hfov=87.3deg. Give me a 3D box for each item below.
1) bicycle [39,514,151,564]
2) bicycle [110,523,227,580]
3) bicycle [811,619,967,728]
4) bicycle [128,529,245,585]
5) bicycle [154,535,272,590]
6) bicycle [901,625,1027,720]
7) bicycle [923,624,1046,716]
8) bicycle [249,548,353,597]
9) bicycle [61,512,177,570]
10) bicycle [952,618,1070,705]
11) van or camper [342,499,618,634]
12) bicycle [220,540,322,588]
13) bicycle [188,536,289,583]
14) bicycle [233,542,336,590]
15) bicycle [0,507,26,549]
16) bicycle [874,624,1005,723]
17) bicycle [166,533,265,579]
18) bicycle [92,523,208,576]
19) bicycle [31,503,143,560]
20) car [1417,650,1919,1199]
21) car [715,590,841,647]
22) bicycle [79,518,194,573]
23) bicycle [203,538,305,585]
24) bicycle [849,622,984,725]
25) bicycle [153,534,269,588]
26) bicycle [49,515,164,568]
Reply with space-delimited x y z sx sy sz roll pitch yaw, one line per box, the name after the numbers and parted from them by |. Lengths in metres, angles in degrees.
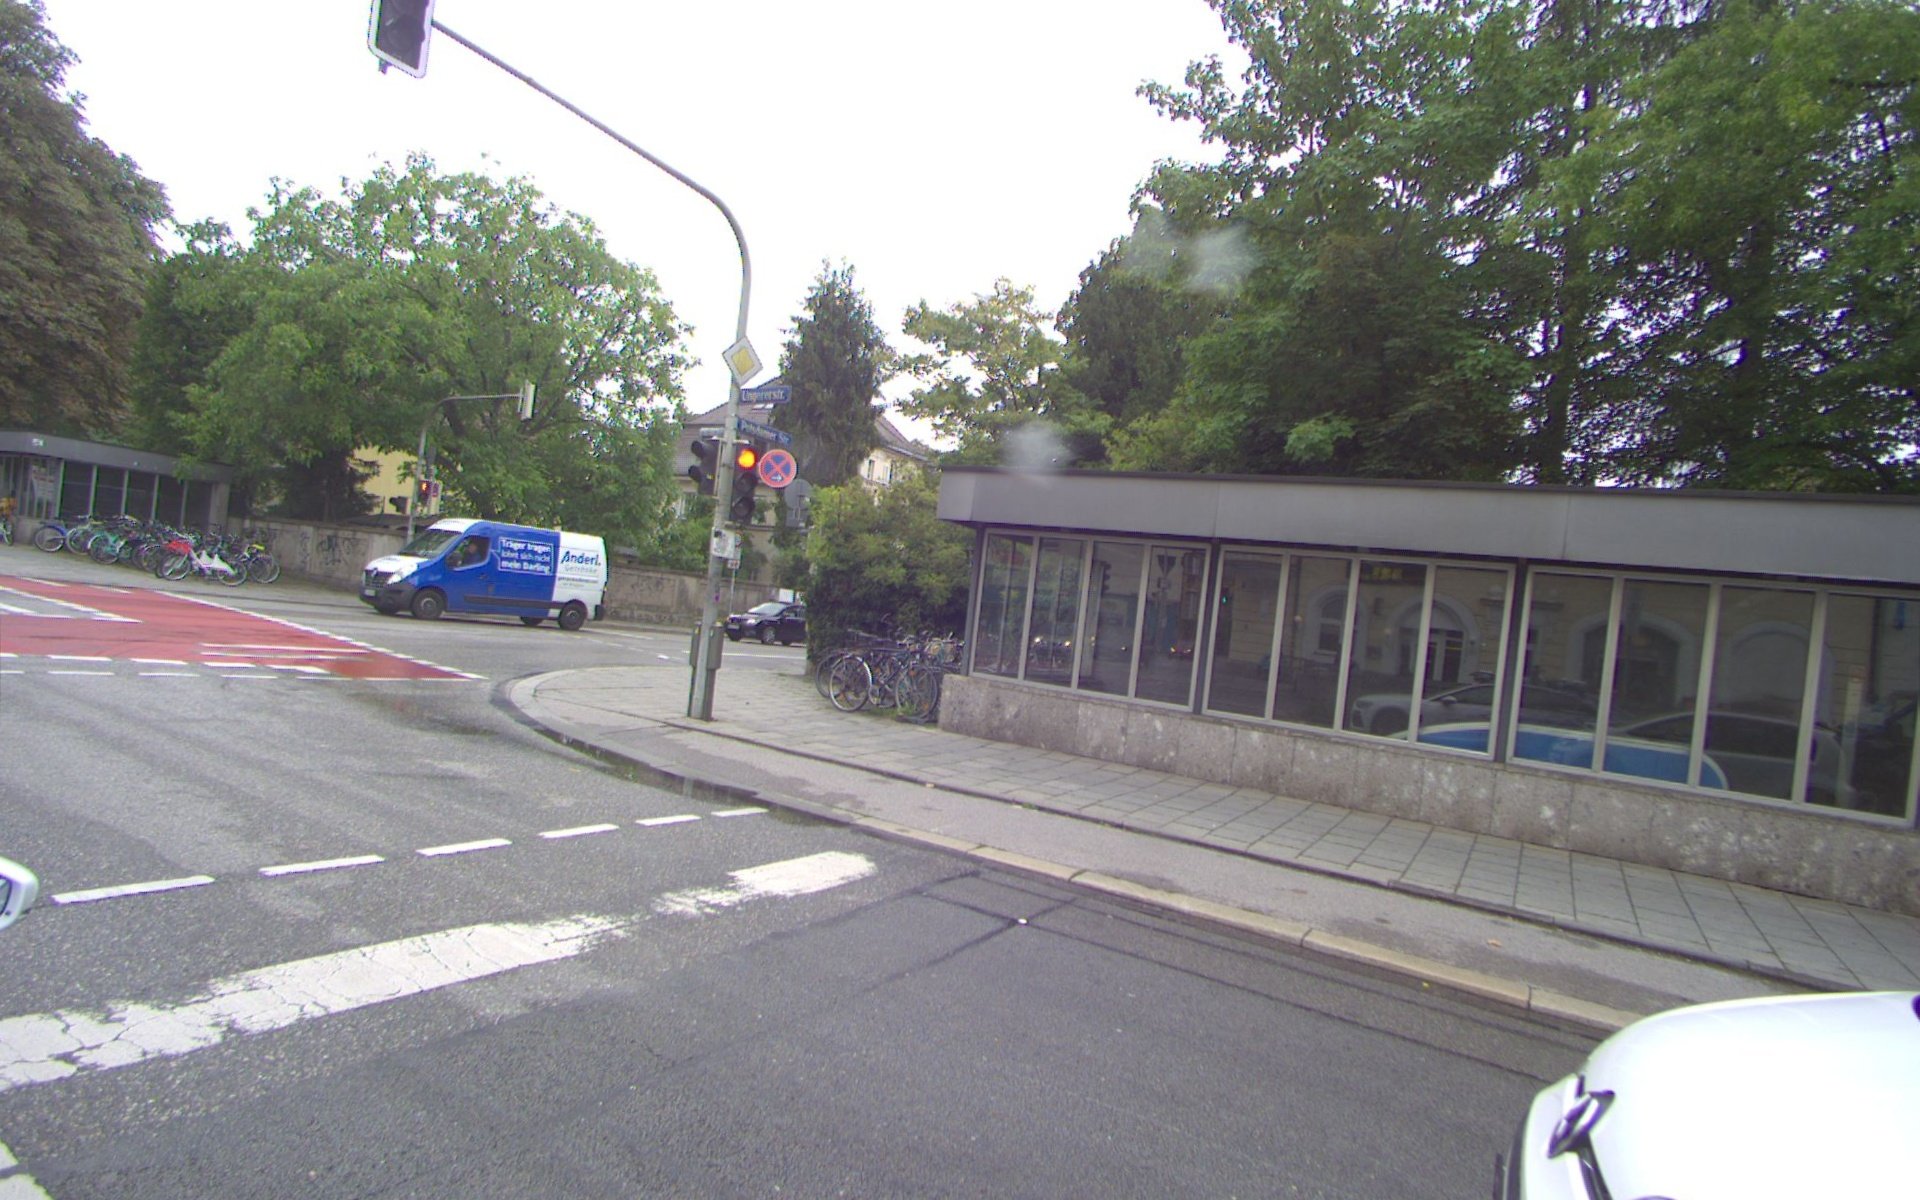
-23.004 -1.605 26.789 0.594 1.026 2.141 7 -1 39 | bicycle
-19.718 -1.195 25.109 0.594 1.114 2.141 7 -1 39 | bicycle
-0.915 0.907 12.702 1.858 1.135 0.600 6 0 32 | bicycle
-19.110 -1.050 24.890 0.594 1.084 2.141 7 -1 39 | bicycle
-17.913 -0.876 24.173 0.594 1.026 2.141 7 -1 39 | bicycle
0.042 1.018 14.319 1.707 1.135 0.469 6 0 32 | bicycle
0.353 1.021 14.834 1.707 1.135 0.469 6 0 32 | bicycle
-17.459 -0.720 26.697 0.625 1.026 2.141 7 -1 39 | bicycle
-21.680 -1.503 25.975 0.594 1.192 2.141 7 0 39 | bicycle
0.769 0.931 15.481 1.707 1.135 0.469 6 0 32 | bicycle
-11.378 -0.692 24.326 2.034 2.499 5.555 7 -1 35 | van or camper
-18.774 -0.965 27.463 0.625 1.026 2.141 7 -1 39 | bicycle
-20.159 -1.124 28.160 0.625 1.026 2.141 7 -1 39 | bicycle
-18.138 -0.898 27.063 0.625 1.026 2.141 7 -1 39 | bicycle
-26.304 -2.015 27.444 1.981 1.027 0.557 7 0 30 | bicycle
-0.296 0.986 13.771 1.707 1.135 0.469 6 0 32 | bicycle
-21.446 -1.257 29.024 0.625 1.026 2.141 7 -1 39 | bicycle
-20.380 -1.267 25.366 0.594 1.026 2.141 7 -1 39 | bicycle
-23.562 -1.830 27.186 0.594 1.233 2.141 7 0 39 | bicycle
2.543 1.095 1.203 3.526 1.581 1.645 7 0 31 | car
-5.877 0.640 32.864 1.669 1.414 3.838 7 -1 37 | car
-21.004 -1.374 25.707 0.594 1.099 2.141 7 -1 39 | bicycle
-19.477 -1.047 27.802 0.625 1.026 2.141 7 -1 39 | bicycle
-0.593 0.954 13.272 1.707 1.135 0.469 6 0 32 | bicycle
-18.329 -0.931 24.665 0.625 1.026 2.141 7 -1 39 | bicycle
-22.287 -1.511 26.311 0.594 1.075 2.141 7 -1 39 | bicycle
